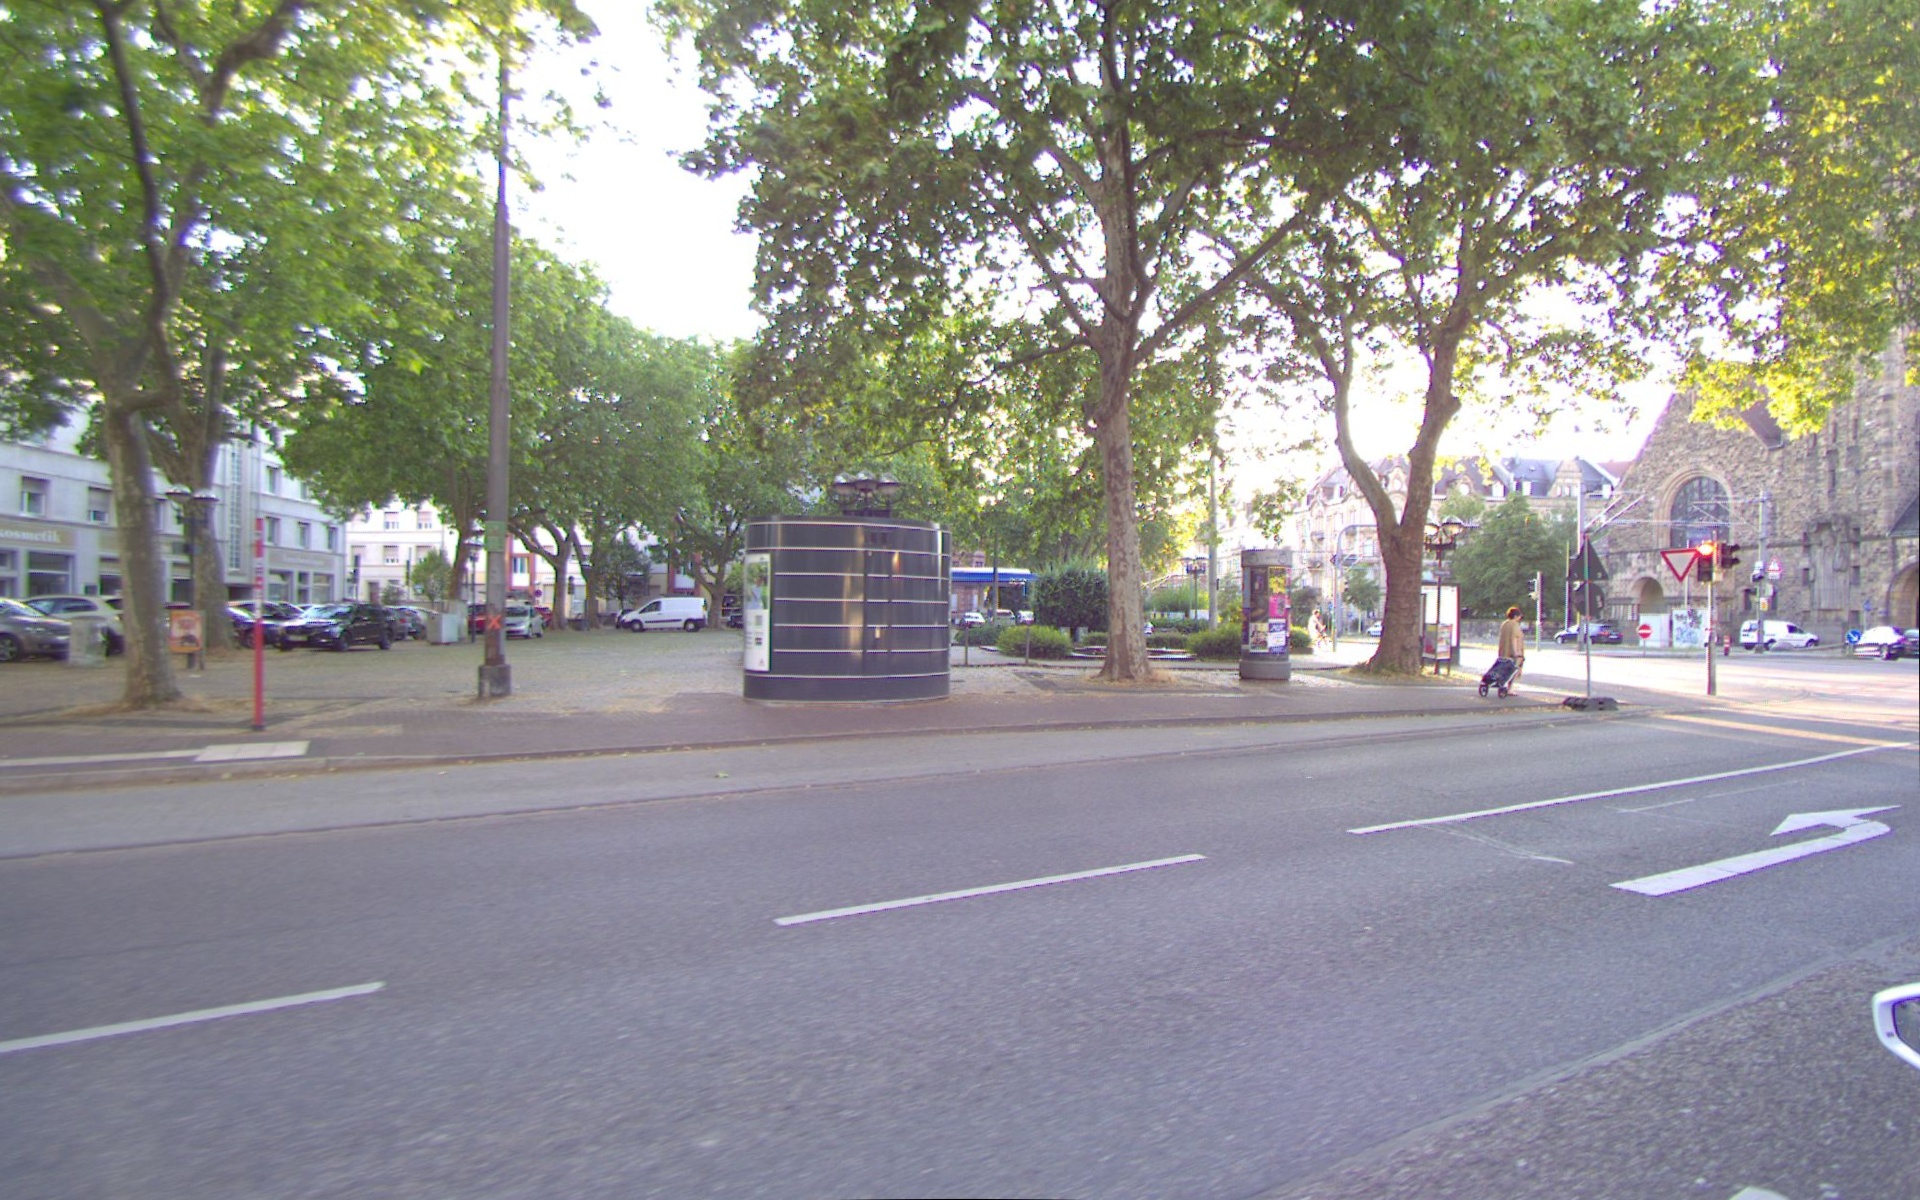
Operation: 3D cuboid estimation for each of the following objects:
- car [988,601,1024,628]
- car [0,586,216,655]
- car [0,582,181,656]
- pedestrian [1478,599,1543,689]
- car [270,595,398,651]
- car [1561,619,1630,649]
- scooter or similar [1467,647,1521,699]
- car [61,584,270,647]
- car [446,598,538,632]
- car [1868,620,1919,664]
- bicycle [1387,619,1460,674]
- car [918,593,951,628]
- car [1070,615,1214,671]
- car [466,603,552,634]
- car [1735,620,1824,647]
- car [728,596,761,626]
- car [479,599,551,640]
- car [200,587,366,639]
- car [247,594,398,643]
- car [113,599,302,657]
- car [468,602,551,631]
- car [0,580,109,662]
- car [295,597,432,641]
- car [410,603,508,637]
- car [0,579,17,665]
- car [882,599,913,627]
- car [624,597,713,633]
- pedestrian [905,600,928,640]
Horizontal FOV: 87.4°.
[{"bbox_3d":[3.323,1.054,73.529,1.882,1.873,3.995,2,0,-7],"label":"car"},{"bbox_3d":[-23.975,0.580,28.176,4.557,1.805,1.997,-1,-1,-10],"label":"car"},{"bbox_3d":[-23.256,0.514,25.933,4.557,1.805,1.997,-1,-1,-10],"label":"car"},{"bbox_3d":[10.524,0.826,19.198,0.766,1.649,0.796,2,0,-35],"label":"pedestrian"},{"bbox_3d":[-18.791,0.697,30.338,1.642,1.549,3.760,2,-1,-4],"label":"car"},{"bbox_3d":[40.149,2.144,63.577,1.960,1.706,4.002,2,0,4],"label":"car"},{"bbox_3d":[9.869,1.335,18.556,0.845,0.910,0.586,2,0,-40],"label":"scooter or similar"},{"bbox_3d":[-24.022,0.474,30.532,4.557,1.805,1.997,-1,-1,-10],"label":"car"},{"bbox_3d":[-26.745,0.876,57.609,4.578,1.834,1.992,0,-1,-20],"label":"car"},{"bbox_3d":[40.917,1.856,43.347,1.967,1.639,3.989,4,-1,35],"label":"car"},{"bbox_3d":[11.751,1.183,25.438,1.967,1.344,0.523,2,0,-26],"label":"bicycle"},{"bbox_3d":[-1.900,0.755,72.777,1.963,2.374,3.995,2,0,-7],"label":"car"},{"bbox_3d":[6.271,1.474,34.877,4.552,1.805,1.999,-1,-1,-5],"label":"car"},{"bbox_3d":[-26.920,1.120,60.177,4.572,1.758,1.990,0,-1,-22],"label":"car"},{"bbox_3d":[51.429,2.085,63.074,4.372,1.537,1.718,2,0,-6],"label":"car"},{"bbox_3d":[-15.277,0.767,71.357,1.963,2.040,3.994,2,0,-8],"label":"car"},{"bbox_3d":[-19.346,0.824,43.820,1.642,1.684,3.760,2,0,-4],"label":"car"},{"bbox_3d":[-24.668,0.487,36.756,4.557,1.805,2.090,-1,-1,-10],"label":"car"},{"bbox_3d":[-24.855,0.712,39.345,4.557,1.805,1.997,-1,-1,-10],"label":"car"},{"bbox_3d":[-24.679,0.918,33.115,4.557,1.758,1.997,-1,-1,-10],"label":"car"},{"bbox_3d":[-27.928,1.028,62.451,4.572,1.758,1.990,0,-1,-22],"label":"car"},{"bbox_3d":[-22.701,0.514,22.962,4.557,1.805,1.997,-1,-1,-10],"label":"car"},{"bbox_3d":[-25.190,0.817,42.560,4.557,1.758,1.997,-1,-1,-10],"label":"car"},{"bbox_3d":[-27.261,1.071,54.811,4.572,1.758,1.990,0,-1,-22],"label":"car"},{"bbox_3d":[-22.360,0.478,20.219,4.557,1.805,1.997,-1,-1,-10],"label":"car"},{"bbox_3d":[-4.537,0.920,72.535,1.882,1.873,3.995,2,0,-7],"label":"car"},{"bbox_3d":[-16.397,0.846,56.676,4.557,1.964,1.997,-1,-1,-10],"label":"car"},{"bbox_3d":[-1.873,0.845,42.933,0.869,1.694,0.740,2,0,-8],"label":"pedestrian"}]
